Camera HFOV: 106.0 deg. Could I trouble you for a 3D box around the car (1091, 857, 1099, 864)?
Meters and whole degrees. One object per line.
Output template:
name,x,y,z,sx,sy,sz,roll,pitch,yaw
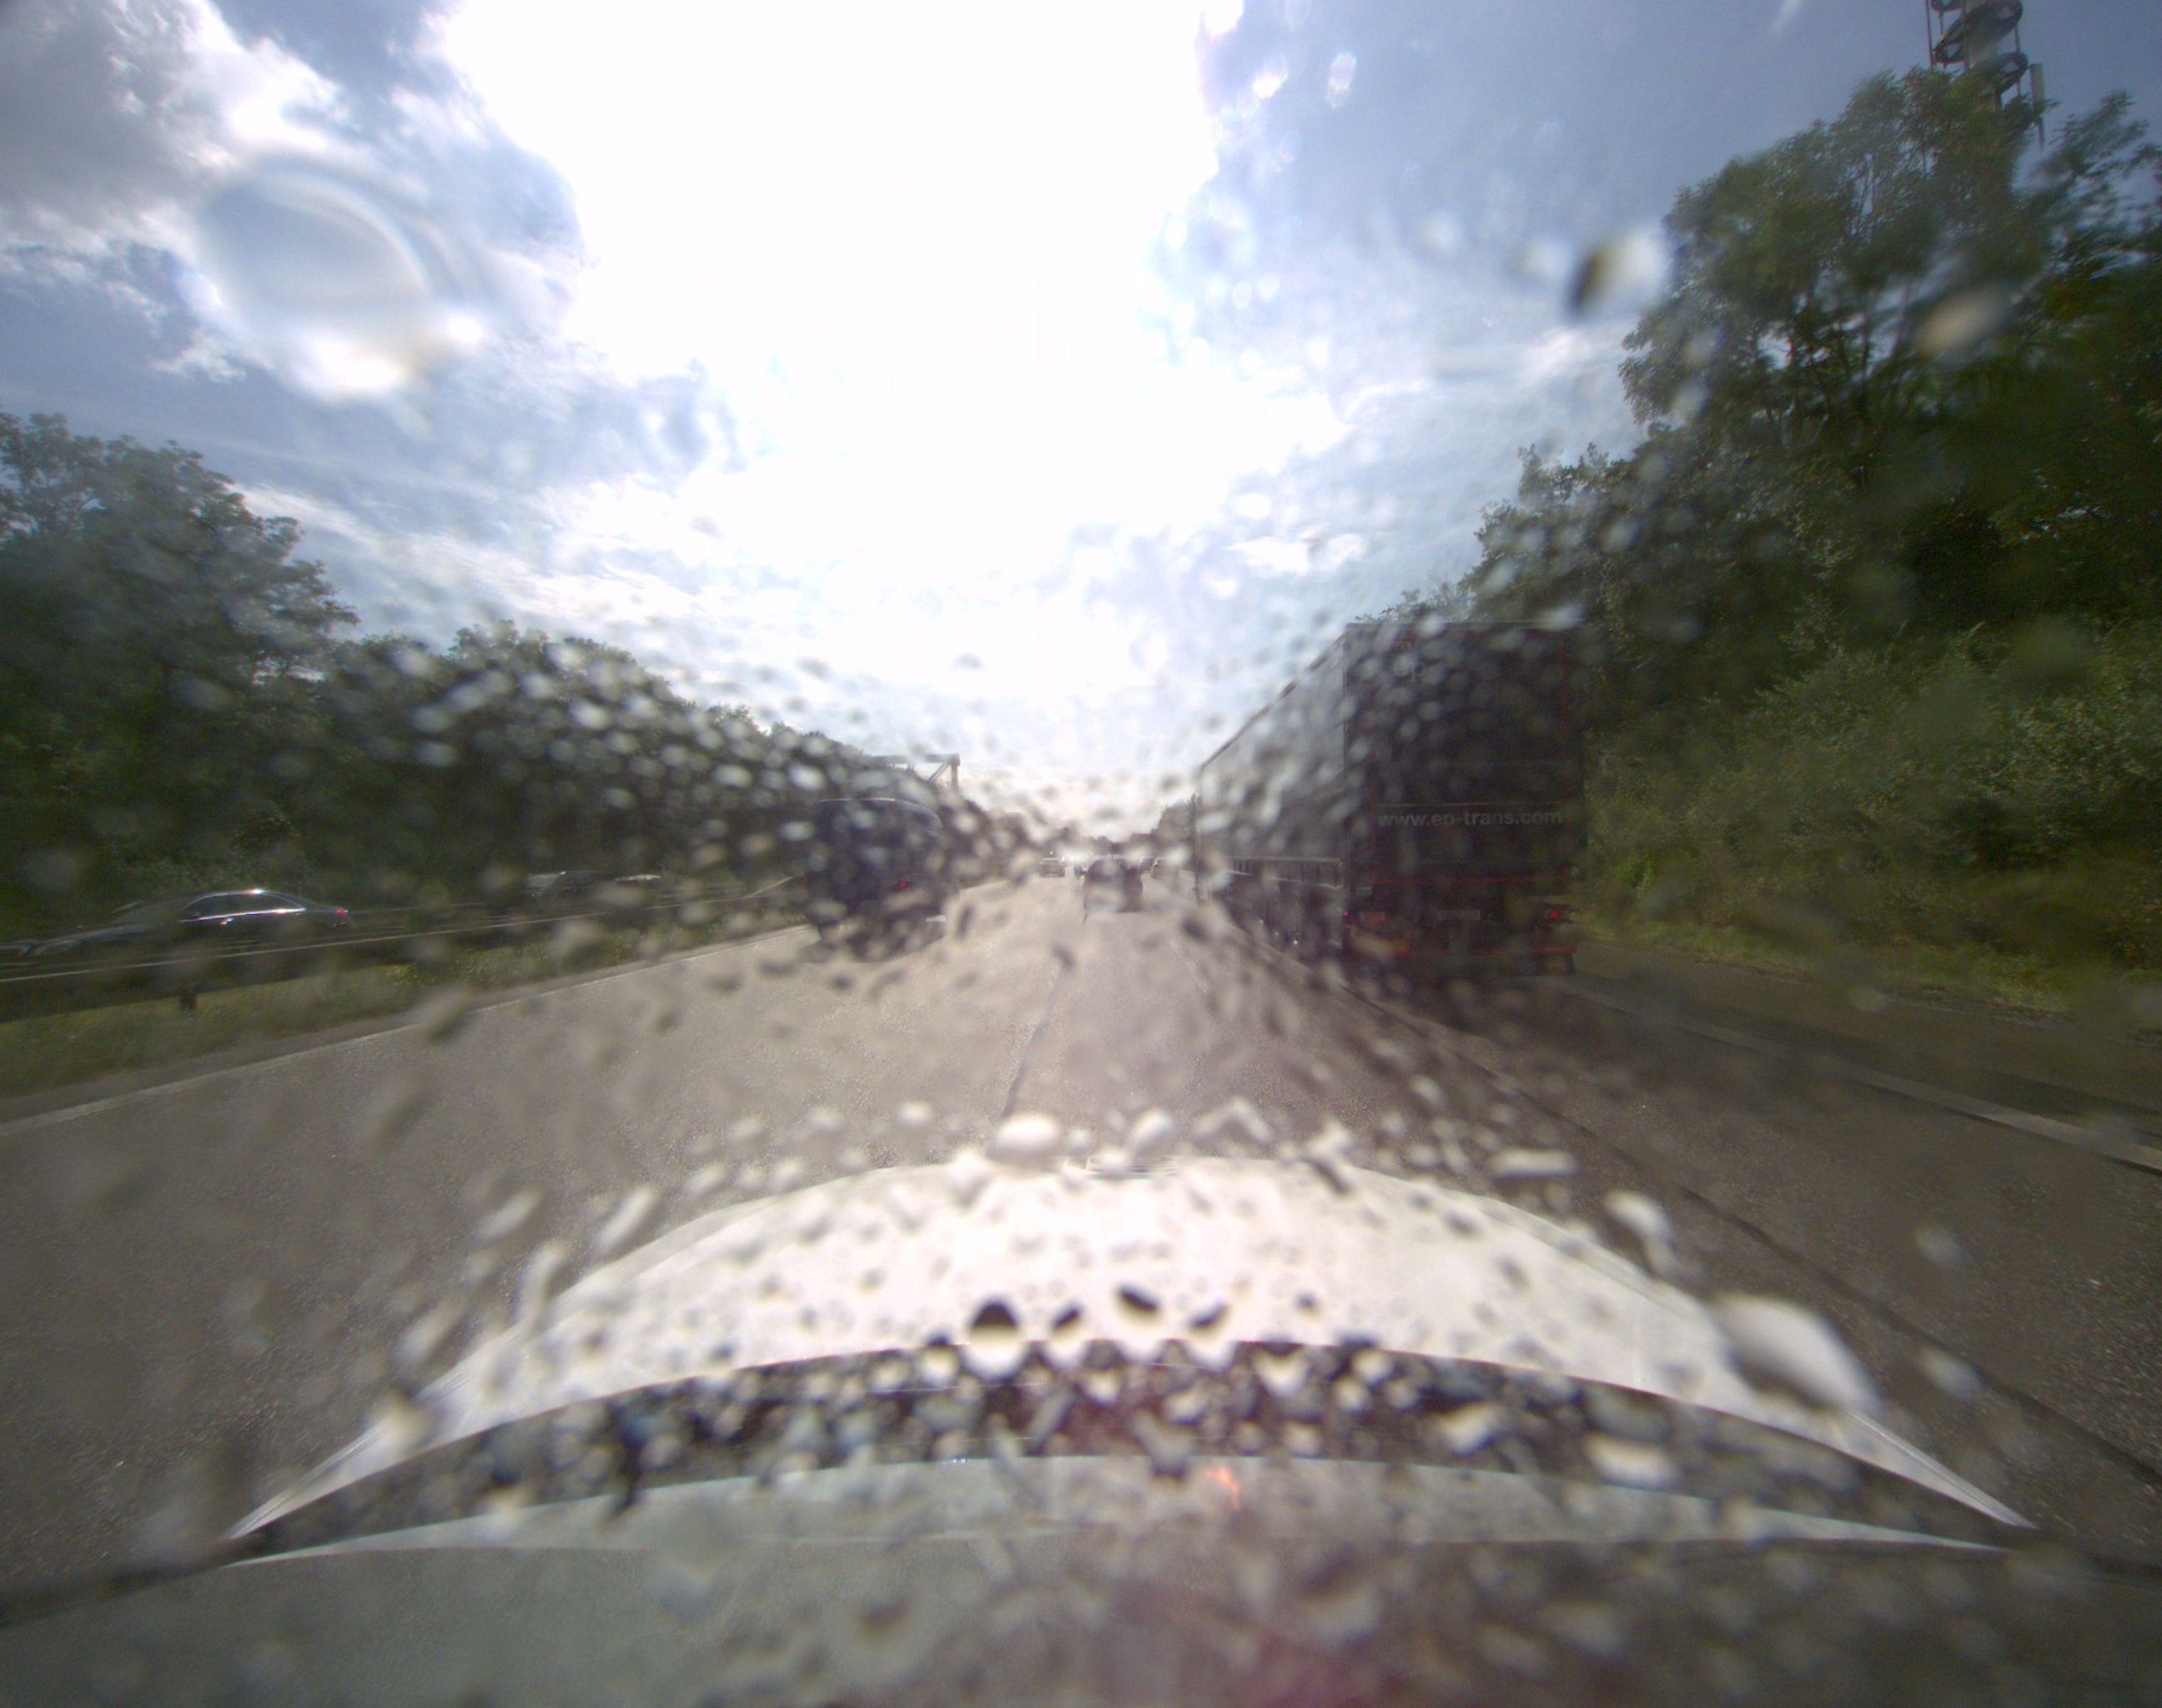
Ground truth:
car,3.000,1.480,177.169,1.669,1.490,3.437,-1,0,1

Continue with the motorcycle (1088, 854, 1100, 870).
motorcycle,1.017,0.630,65.303,0.818,1.263,2.115,-1,0,-3

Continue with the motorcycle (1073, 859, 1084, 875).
motorcycle,-0.178,0.887,56.558,0.674,1.087,1.980,0,0,-2

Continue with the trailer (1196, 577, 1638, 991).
trailer,4.526,-0.717,15.637,3.076,4.312,14.111,-1,0,2

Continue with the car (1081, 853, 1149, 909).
car,1.003,0.763,25.361,1.908,1.565,4.314,-1,0,1

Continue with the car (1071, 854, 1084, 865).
car,-0.468,0.782,123.175,1.886,1.628,4.196,-1,0,1

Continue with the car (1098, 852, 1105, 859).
car,6.151,0.559,241.503,1.986,2.014,4.001,-1,-1,1

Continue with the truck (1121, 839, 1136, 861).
truck,10.244,-0.830,177.968,2.871,4.687,12.662,-1,-1,1

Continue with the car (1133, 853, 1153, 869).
car,5.865,0.646,77.142,1.669,1.490,3.437,-1,0,1

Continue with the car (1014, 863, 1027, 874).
car,-11.878,2.833,160.252,1.986,2.014,4.734,-1,-1,1

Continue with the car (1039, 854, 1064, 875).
car,-2.333,0.836,65.386,1.752,1.595,4.331,-1,0,1

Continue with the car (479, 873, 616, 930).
car,-21.098,1.817,32.558,1.986,2.014,5.141,-1,-1,1

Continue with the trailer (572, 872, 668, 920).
trailer,-20.941,1.863,37.180,1.986,2.014,4.002,-1,-1,2

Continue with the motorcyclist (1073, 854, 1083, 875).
motorcyclist,-0.186,0.747,56.665,0.669,1.442,1.019,-1,-1,-2

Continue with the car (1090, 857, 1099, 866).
car,3.230,1.828,196.444,1.986,2.014,4.001,-1,-1,1

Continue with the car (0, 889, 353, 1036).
car,-16.165,1.729,14.543,1.986,2.014,4.734,-1,-1,1

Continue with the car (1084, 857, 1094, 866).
car,1.494,1.334,151.536,1.669,1.597,3.437,-1,0,1

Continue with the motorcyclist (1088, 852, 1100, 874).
motorcyclist,1.019,0.709,65.253,0.819,1.761,1.389,-1,-1,-3

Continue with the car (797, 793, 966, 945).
car,-3.918,0.280,17.240,2.008,2.648,5.778,-1,0,1

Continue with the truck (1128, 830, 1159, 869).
truck,7.372,-0.461,97.368,3.190,4.404,9.436,-1,0,2

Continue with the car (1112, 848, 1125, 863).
car,5.233,0.221,114.049,1.669,1.936,3.774,-1,0,1

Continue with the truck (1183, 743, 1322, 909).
truck,4.859,-0.707,24.306,3.040,4.325,5.888,-1,-1,2

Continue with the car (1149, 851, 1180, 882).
car,5.785,0.847,56.731,1.842,2.014,4.089,-1,-1,2

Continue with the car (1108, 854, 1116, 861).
car,6.725,0.805,178.183,1.626,1.490,3.437,-1,0,1
